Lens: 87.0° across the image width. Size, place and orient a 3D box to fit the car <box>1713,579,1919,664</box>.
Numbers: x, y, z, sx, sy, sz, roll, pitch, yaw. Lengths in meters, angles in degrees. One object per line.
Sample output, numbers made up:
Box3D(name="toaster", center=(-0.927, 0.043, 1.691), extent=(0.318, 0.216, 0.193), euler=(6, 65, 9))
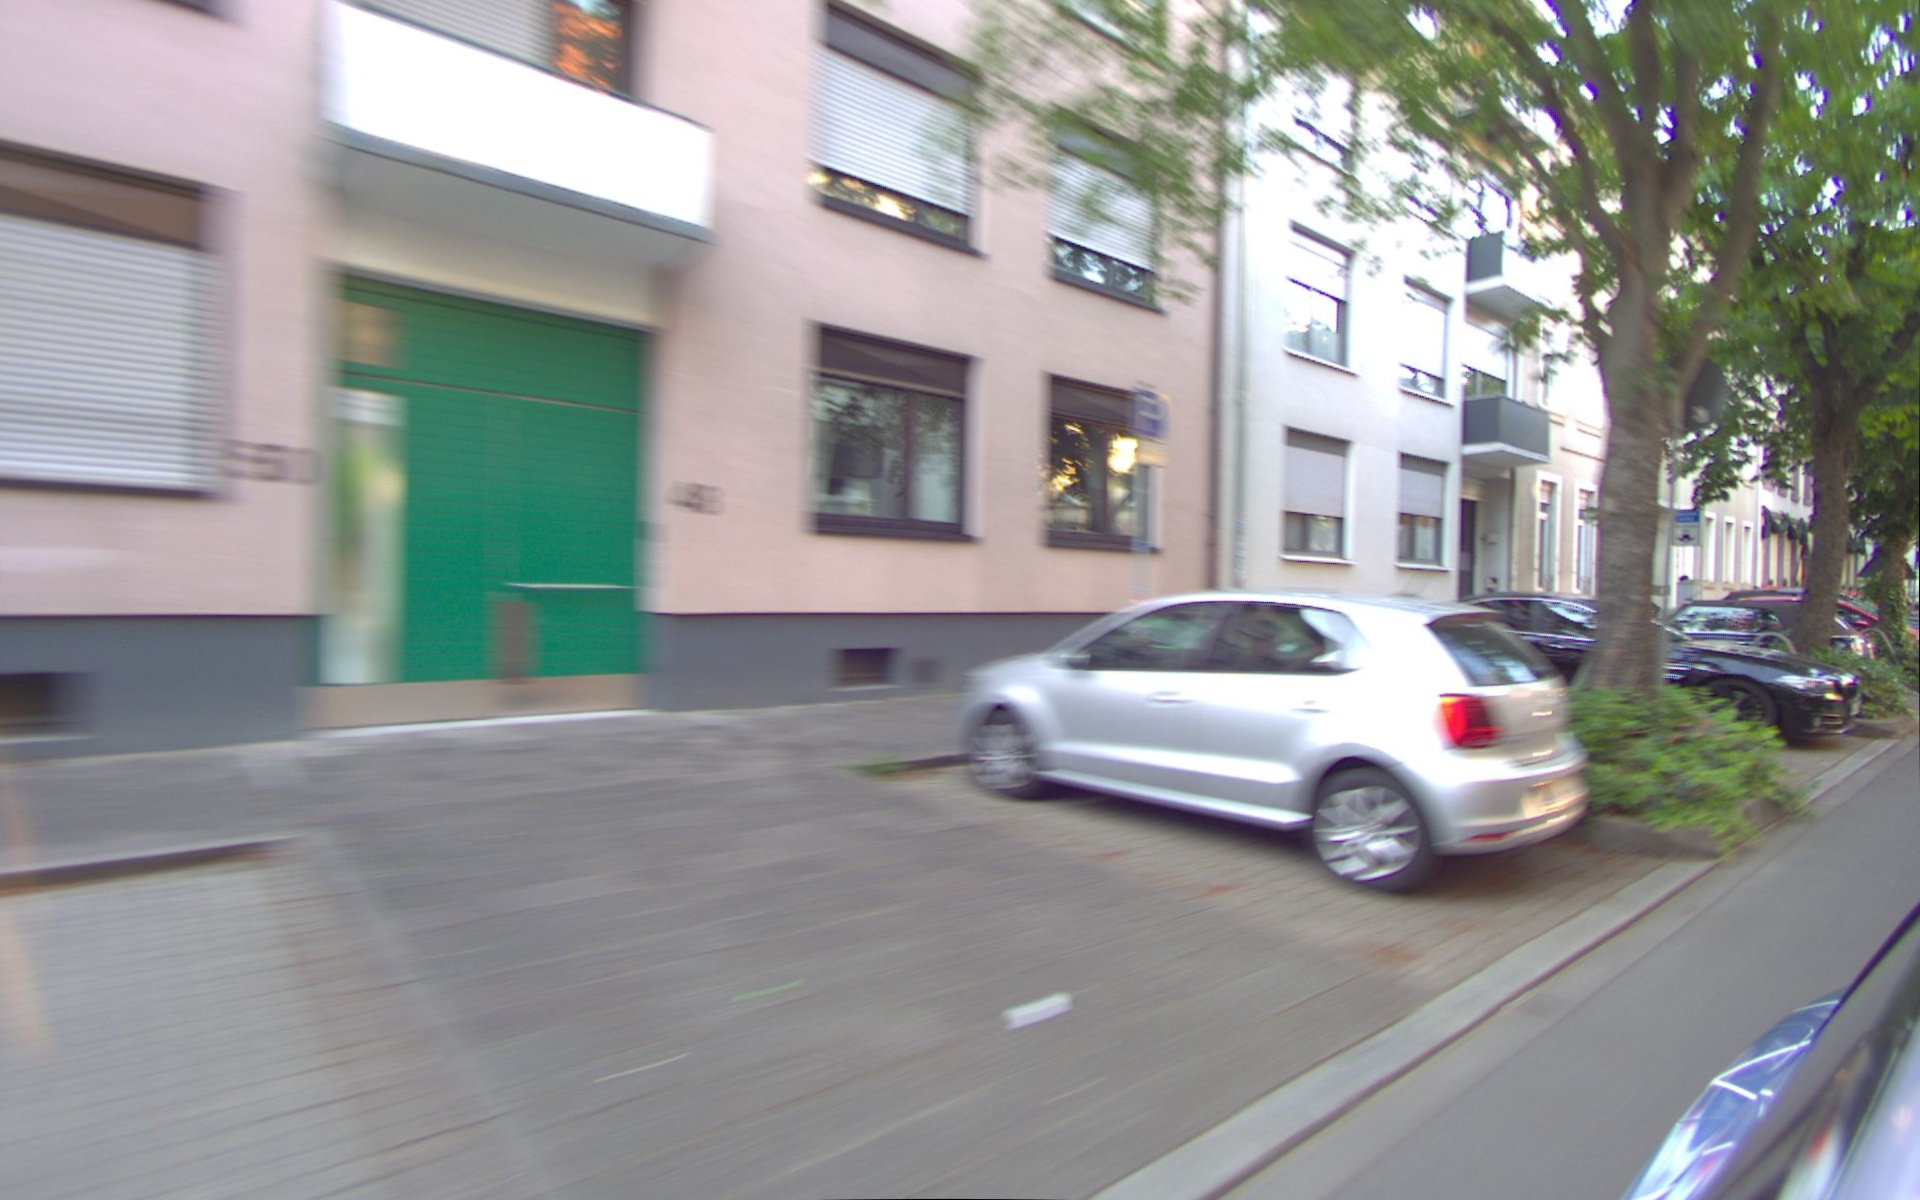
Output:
Box3D(name="car", center=(19.741, 0.438, 22.524), extent=(1.865, 1.676, 4.437), euler=(1, 1, -39))

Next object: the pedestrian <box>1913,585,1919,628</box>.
Box3D(name="pedestrian", center=(40.132, 0.278, 41.926), extent=(0.703, 1.760, 0.718), euler=(4, 1, 33))

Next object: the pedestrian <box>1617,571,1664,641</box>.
Box3D(name="pedestrian", center=(15.686, 0.128, 23.331), extent=(0.816, 1.555, 0.656), euler=(1, 1, -40))

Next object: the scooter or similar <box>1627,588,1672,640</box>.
Box3D(name="scooter or similar", center=(16.202, 0.317, 23.778), extent=(0.816, 1.167, 0.656), euler=(1, 1, -40))

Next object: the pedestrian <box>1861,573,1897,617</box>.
Box3D(name="pedestrian", center=(38.306, -0.209, 42.188), extent=(0.729, 1.760, 0.729), euler=(3, 1, -14))

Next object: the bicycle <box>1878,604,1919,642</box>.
Box3D(name="bicycle", center=(30.230, 0.727, 31.939), extent=(1.795, 1.142, 0.653), euler=(3, 2, 44))

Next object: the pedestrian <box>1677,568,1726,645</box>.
Box3D(name="pedestrian", center=(17.226, 0.139, 23.533), extent=(0.682, 1.758, 0.670), euler=(2, 1, 18))

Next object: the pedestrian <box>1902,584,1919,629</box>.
Box3D(name="pedestrian", center=(38.406, 0.263, 40.714), extent=(0.612, 1.760, 0.616), euler=(2, 1, -41))

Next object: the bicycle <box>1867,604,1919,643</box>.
Box3D(name="bicycle", center=(28.599, 0.723, 30.538), extent=(1.795, 1.121, 0.492), euler=(3, 2, 45))

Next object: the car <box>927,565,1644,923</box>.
Box3D(name="car", center=(1.768, 0.572, 6.375), extent=(1.817, 1.457, 3.881), euler=(1, 2, -43))

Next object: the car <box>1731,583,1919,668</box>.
Box3D(name="car", center=(17.712, 0.475, 20.115), extent=(1.867, 1.470, 3.489), euler=(1, 2, -42))

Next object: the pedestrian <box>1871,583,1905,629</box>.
Box3D(name="pedestrian", center=(36.253, 0.234, 39.541), extent=(0.774, 1.760, 0.676), euler=(4, 1, 34))

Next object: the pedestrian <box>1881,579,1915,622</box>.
Box3D(name="pedestrian", center=(39.212, 0.021, 42.319), extent=(0.732, 1.760, 0.716), euler=(3, 1, -21))

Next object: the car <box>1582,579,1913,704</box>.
Box3D(name="car", center=(11.313, 0.508, 14.676), extent=(1.867, 1.470, 3.489), euler=(1, 2, -42))

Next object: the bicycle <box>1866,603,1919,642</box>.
Box3D(name="bicycle", center=(29.503, 0.708, 31.557), extent=(1.793, 1.157, 0.642), euler=(3, 2, 42))

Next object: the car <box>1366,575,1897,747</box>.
Box3D(name="car", center=(7.447, 0.518, 11.681), extent=(1.999, 1.439, 4.722), euler=(1, 2, -40))
